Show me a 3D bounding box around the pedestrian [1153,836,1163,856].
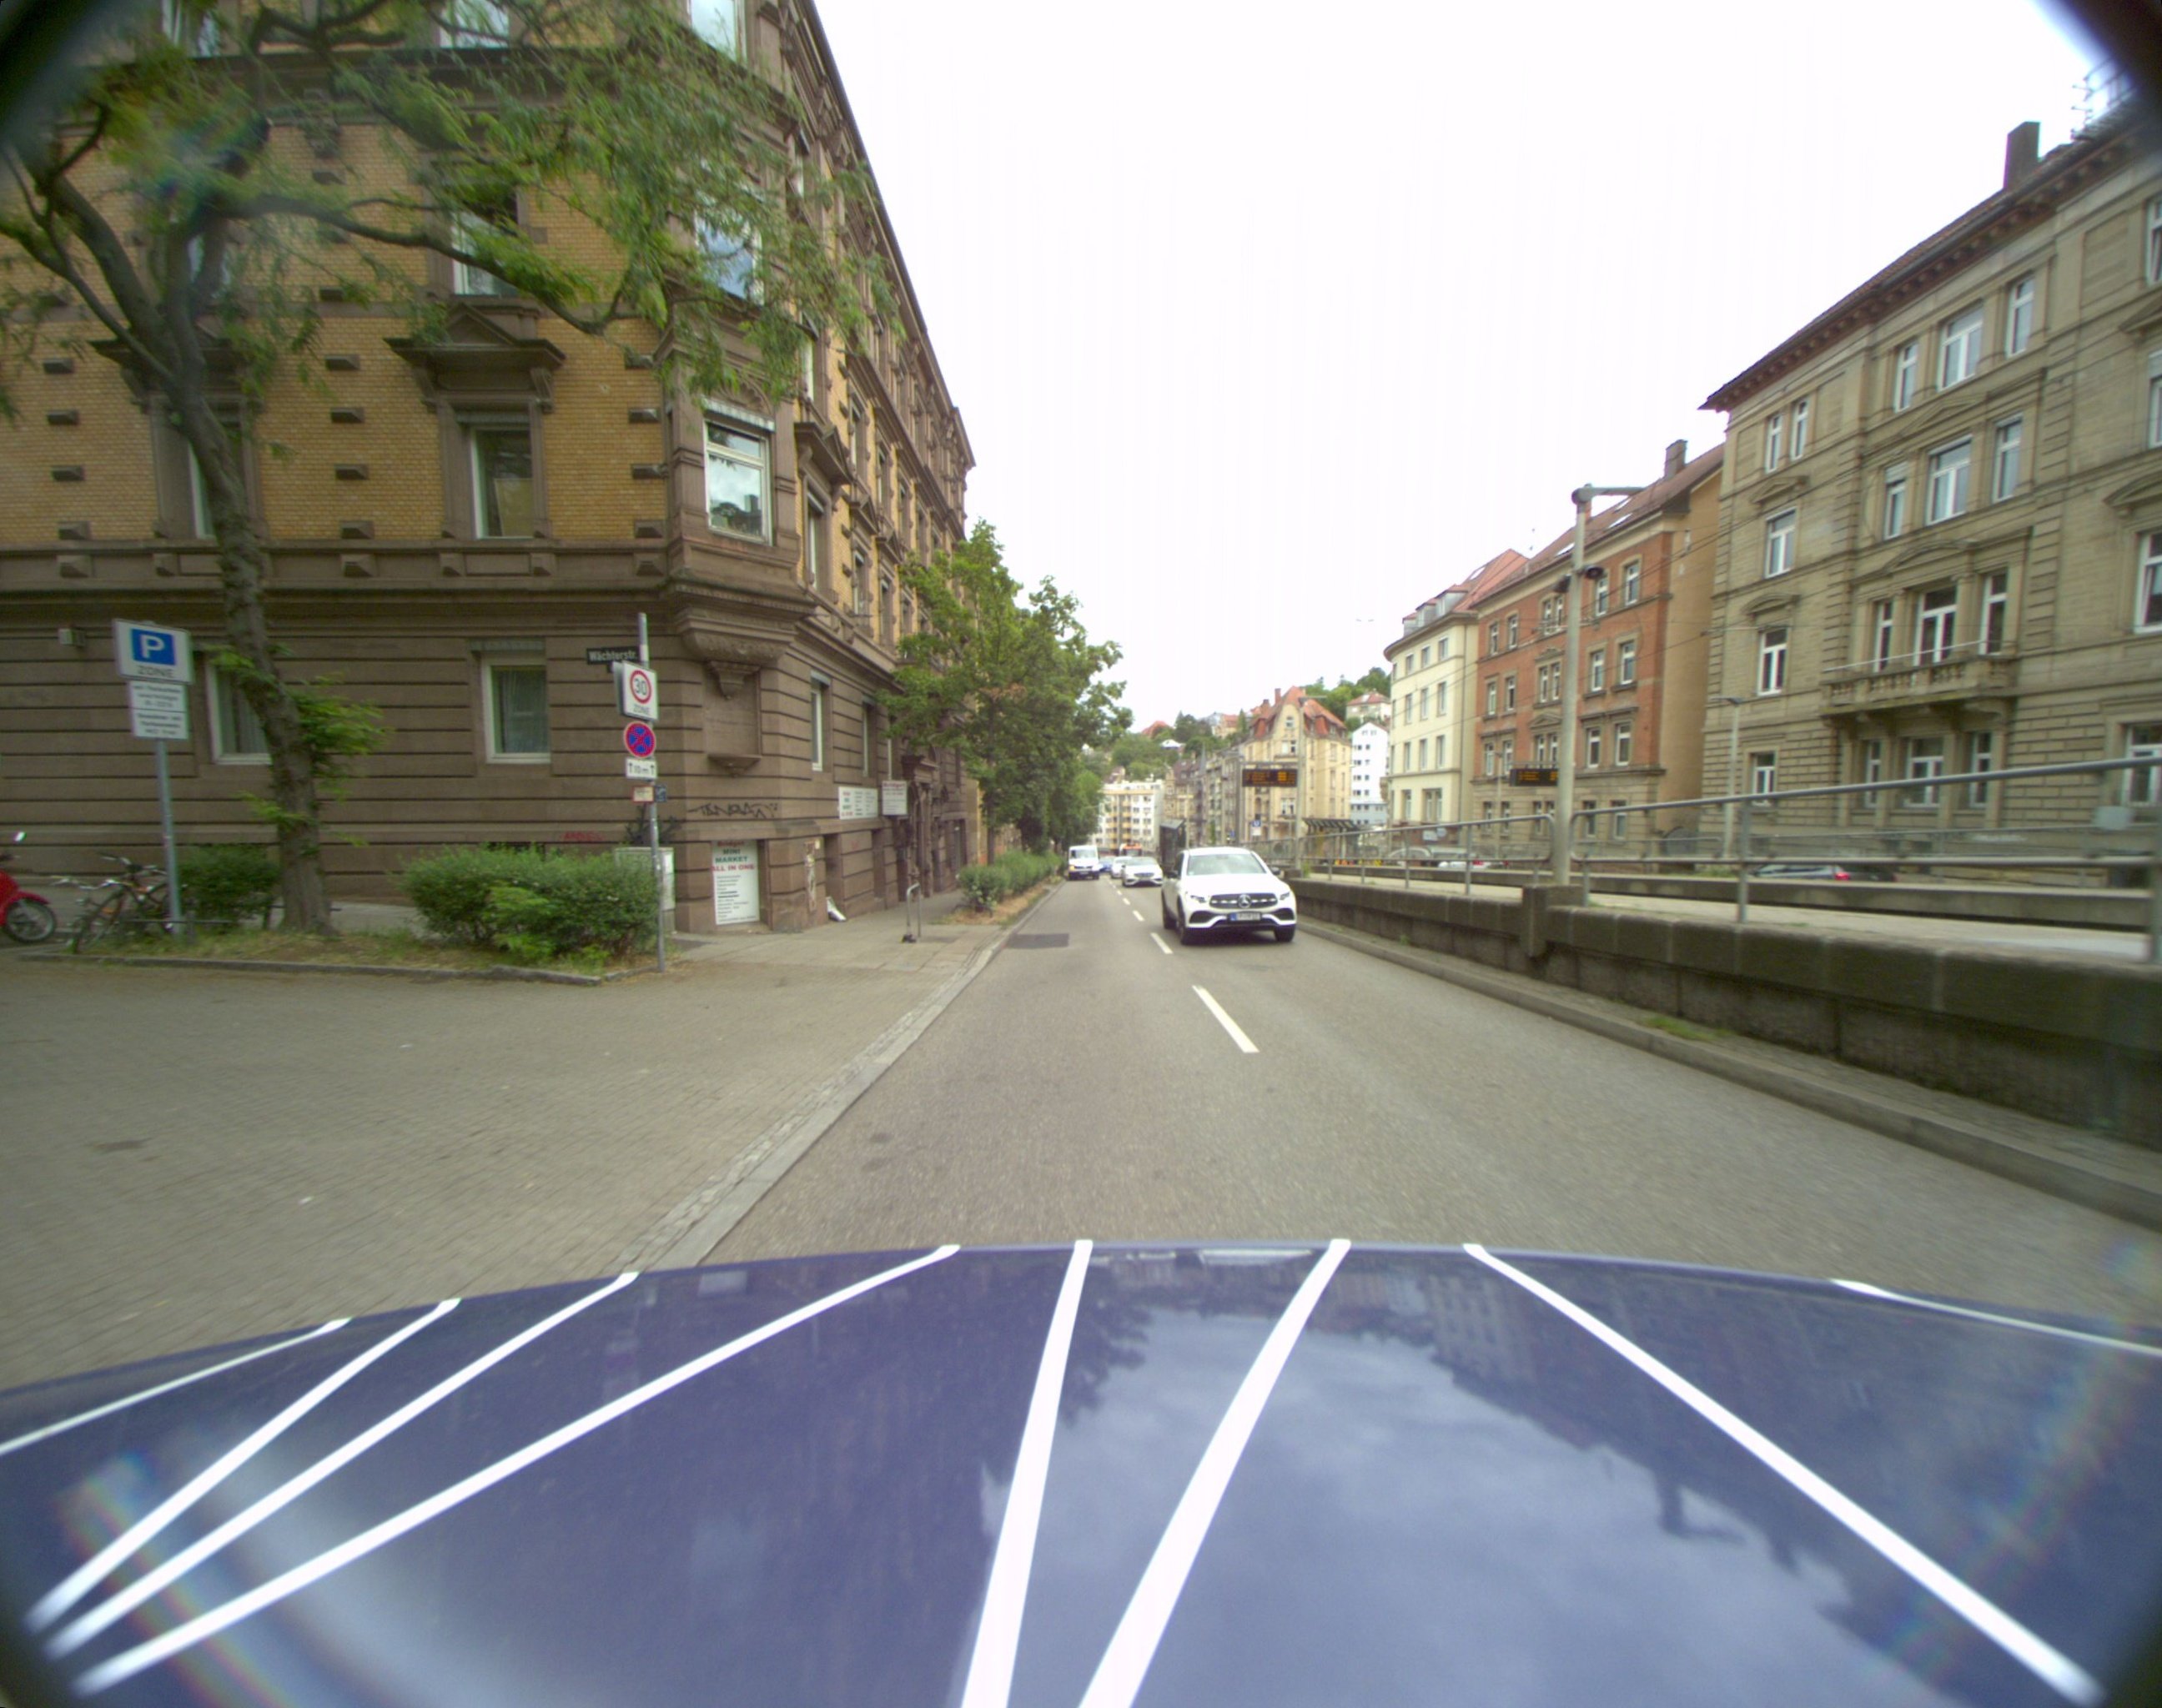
[{"bbox_3d":[6.436,-0.652,63.303,0.767,1.705,0.766,0,0,1],"label":"pedestrian"}]

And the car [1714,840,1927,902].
[{"bbox_3d":[19.694,0.424,20.533,1.883,1.519,4.000,0,0,1],"label":"car"}]

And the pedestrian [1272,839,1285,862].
[{"bbox_3d":[14.572,-0.273,56.148,0.767,1.678,0.843,0,0,1],"label":"pedestrian"}]

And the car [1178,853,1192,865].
[{"bbox_3d":[16.435,0.770,120.099,1.827,1.754,3.864,0,0,2],"label":"car"}]

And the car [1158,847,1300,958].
[{"bbox_3d":[2.547,0.747,14.229,1.840,1.657,4.670,-2,1,2],"label":"car"}]

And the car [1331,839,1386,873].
[{"bbox_3d":[19.769,0.145,54.412,1.998,2.291,5.455,0,0,1],"label":"car"}]

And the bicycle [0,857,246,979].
[{"bbox_3d":[-10.682,0.643,8.533,0.508,1.093,1.920,2,3,-2],"label":"bicycle"}]

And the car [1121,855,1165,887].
[{"bbox_3d":[2.941,0.787,36.810,1.806,1.391,4.000,-1,0,0],"label":"car"}]

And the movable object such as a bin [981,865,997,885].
[{"bbox_3d":[-4.463,1.012,37.052,0.672,0.937,0.539,0,1,4],"label":"movable object such as a bin"}]

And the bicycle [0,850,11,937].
[{"bbox_3d":[-13.966,0.540,8.739,0.508,1.093,1.921,3,3,3],"label":"bicycle"}]

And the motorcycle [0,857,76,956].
[{"bbox_3d":[-12.831,0.628,8.435,0.507,1.093,1.924,4,4,25],"label":"motorcycle"}]

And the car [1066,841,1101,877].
[{"bbox_3d":[0.186,0.341,52.110,2.263,2.274,5.967,-1,0,0],"label":"car"}]

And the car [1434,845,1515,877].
[{"bbox_3d":[19.506,0.315,37.899,1.772,1.462,4.260,-2,0,0],"label":"car"}]

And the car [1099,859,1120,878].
[{"bbox_3d":[2.426,1.202,64.405,1.694,1.466,3.857,0,0,1],"label":"car"}]

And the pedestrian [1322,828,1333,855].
[{"bbox_3d":[14.422,-0.717,44.447,0.463,1.553,0.540,0,1,0],"label":"pedestrian"}]

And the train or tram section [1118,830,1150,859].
[{"bbox_3d":[6.804,-1.157,99.928,2.968,3.456,14.407,0,0,-1],"label":"train or tram section"}]

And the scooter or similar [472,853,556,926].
[{"bbox_3d":[-8.699,0.556,11.676,0.977,1.072,0.238,3,4,-25],"label":"scooter or similar"}]

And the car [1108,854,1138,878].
[{"bbox_3d":[2.806,0.805,51.480,1.806,1.542,4.000,-1,0,1],"label":"car"}]
